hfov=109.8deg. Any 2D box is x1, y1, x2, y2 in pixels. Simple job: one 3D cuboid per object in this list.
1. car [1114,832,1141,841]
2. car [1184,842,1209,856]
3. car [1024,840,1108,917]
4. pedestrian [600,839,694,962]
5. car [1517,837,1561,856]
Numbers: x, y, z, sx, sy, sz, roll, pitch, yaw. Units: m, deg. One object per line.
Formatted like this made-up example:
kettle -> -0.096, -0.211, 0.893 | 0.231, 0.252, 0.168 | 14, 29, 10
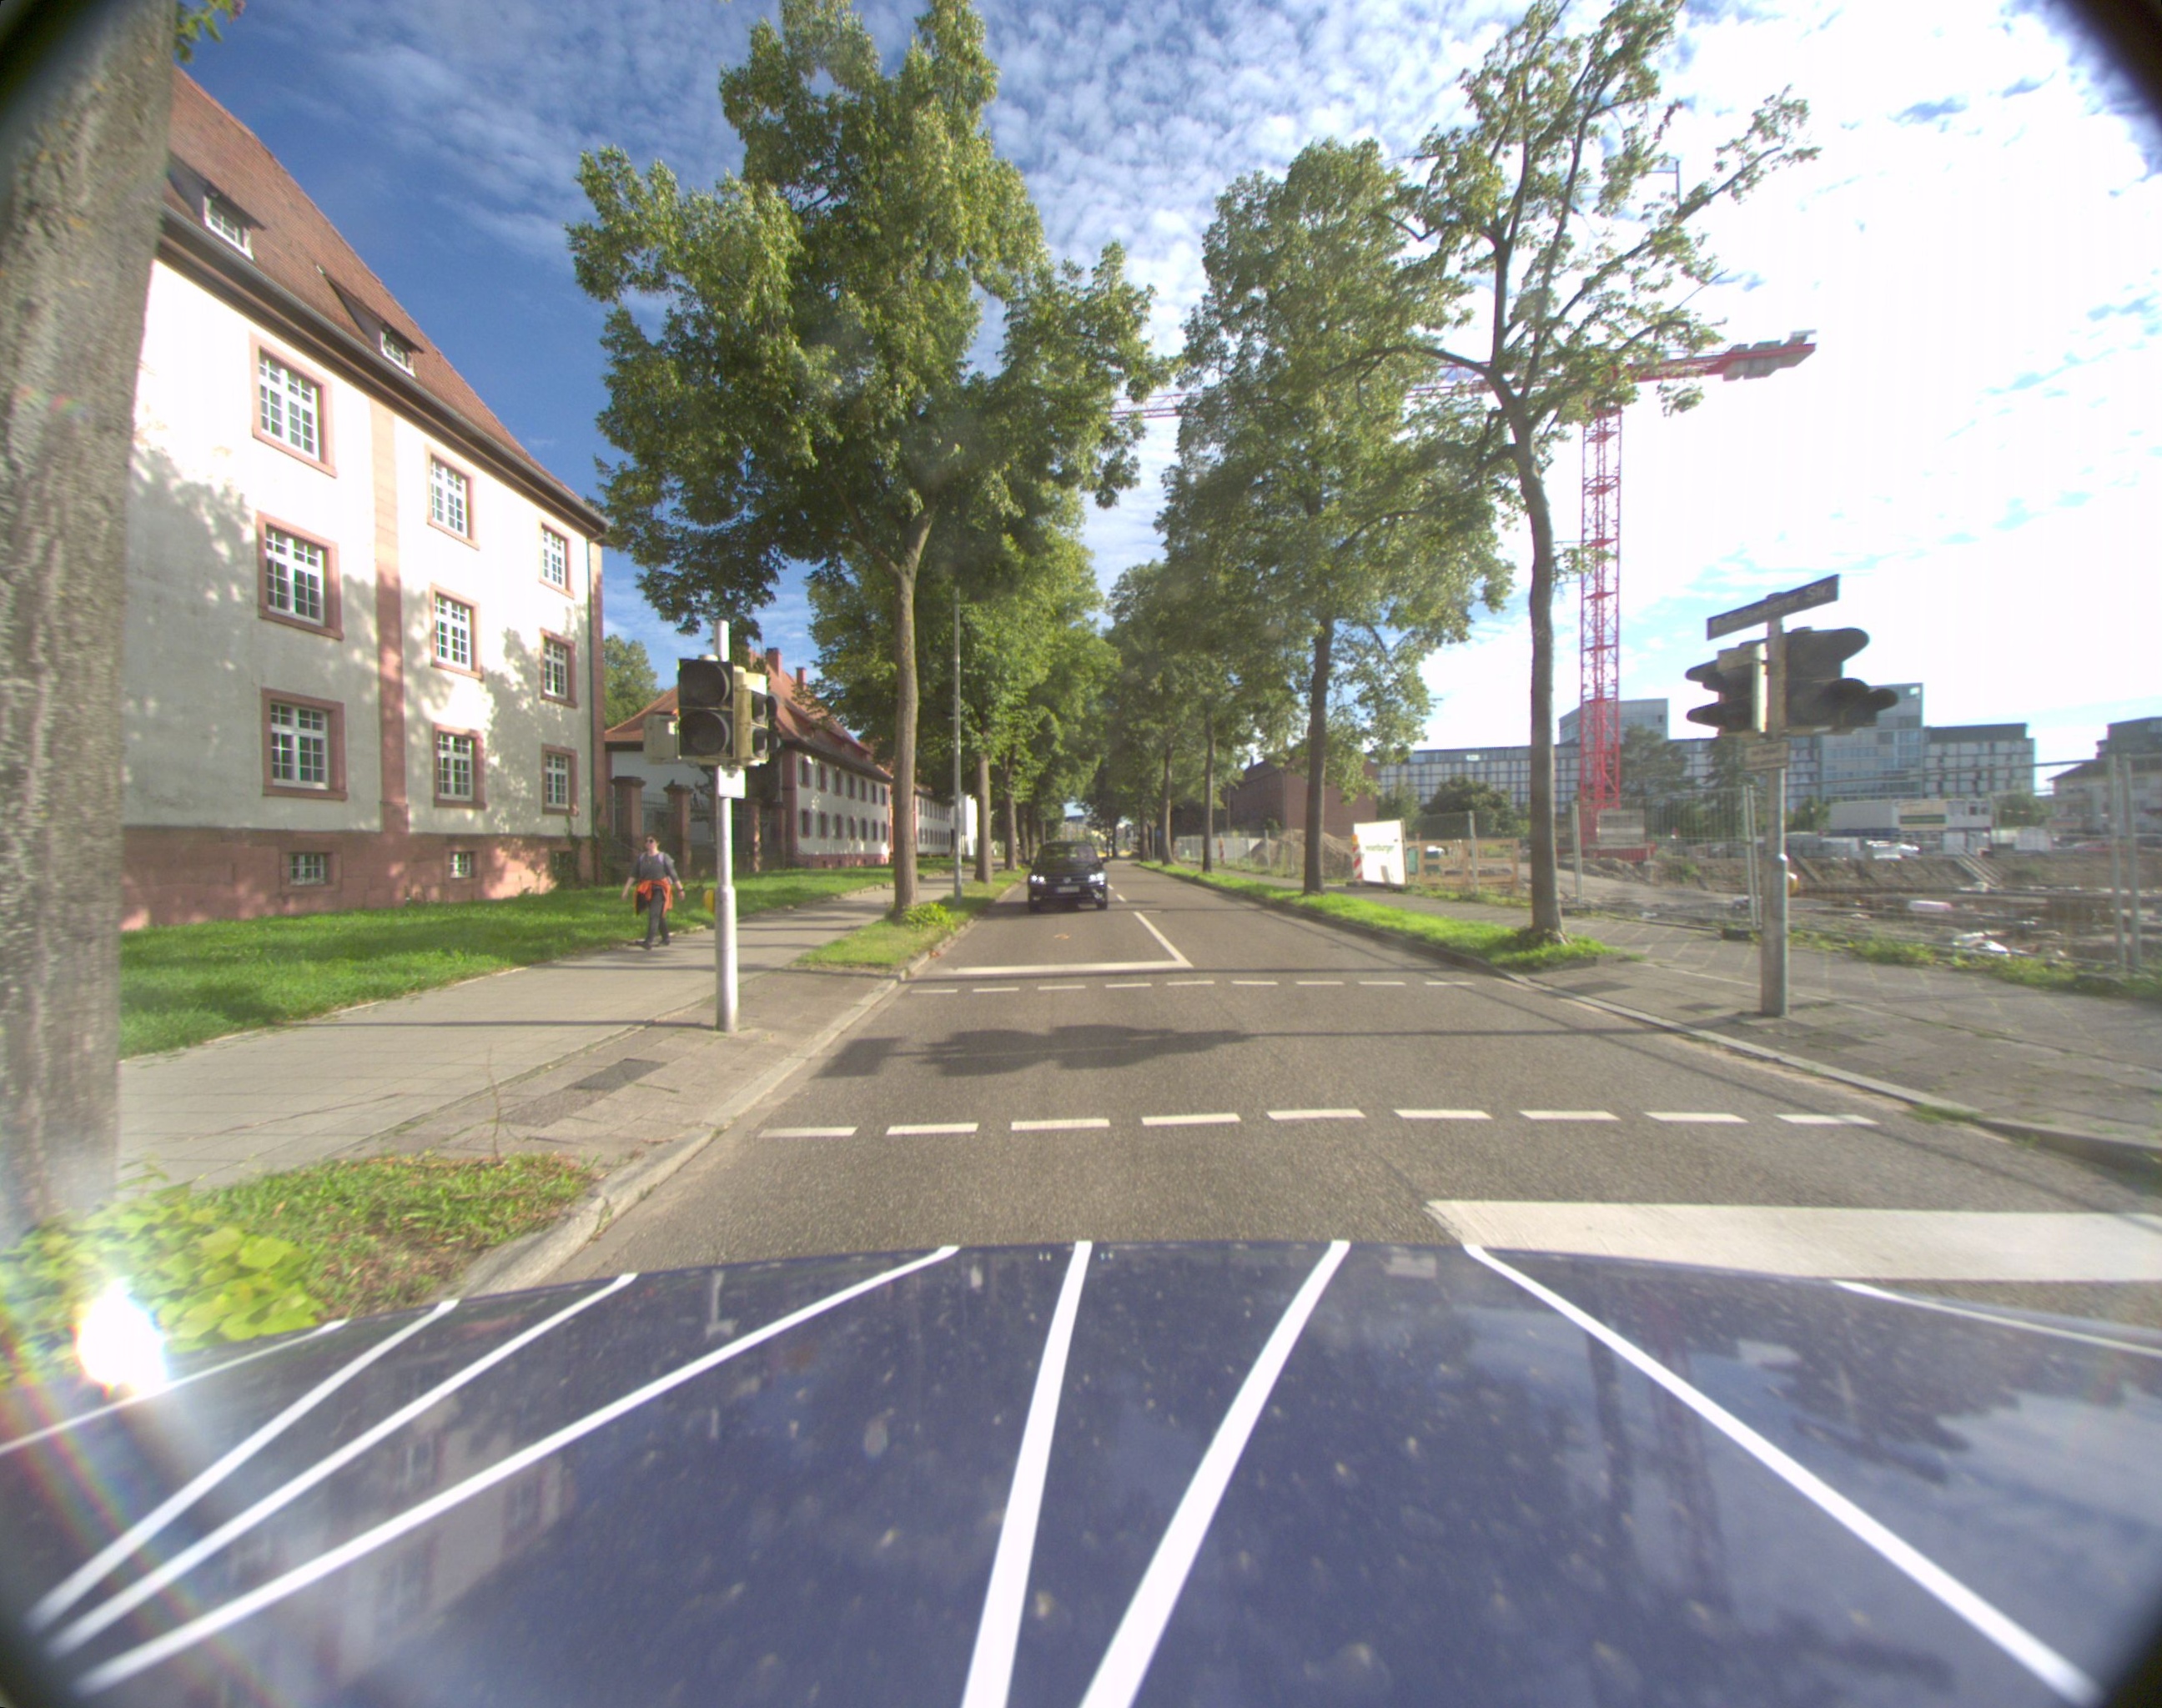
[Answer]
car -> 10.914, -4.012, 177.796 | 2.482, 1.856, 6.234 | -5, 4, -44
car -> 12.012, -0.549, 79.229 | 1.998, 1.421, 4.506 | 0, 2, 1
car -> -0.308, 0.524, 18.943 | 1.821, 1.648, 4.242 | -2, 0, 1
pedestrian -> -5.827, 0.598, 10.236 | 0.816, 1.581, 0.769 | 2, 2, -2
car -> 46.668, -0.808, 77.546 | 1.818, 1.797, 3.981 | -2, 3, -6
